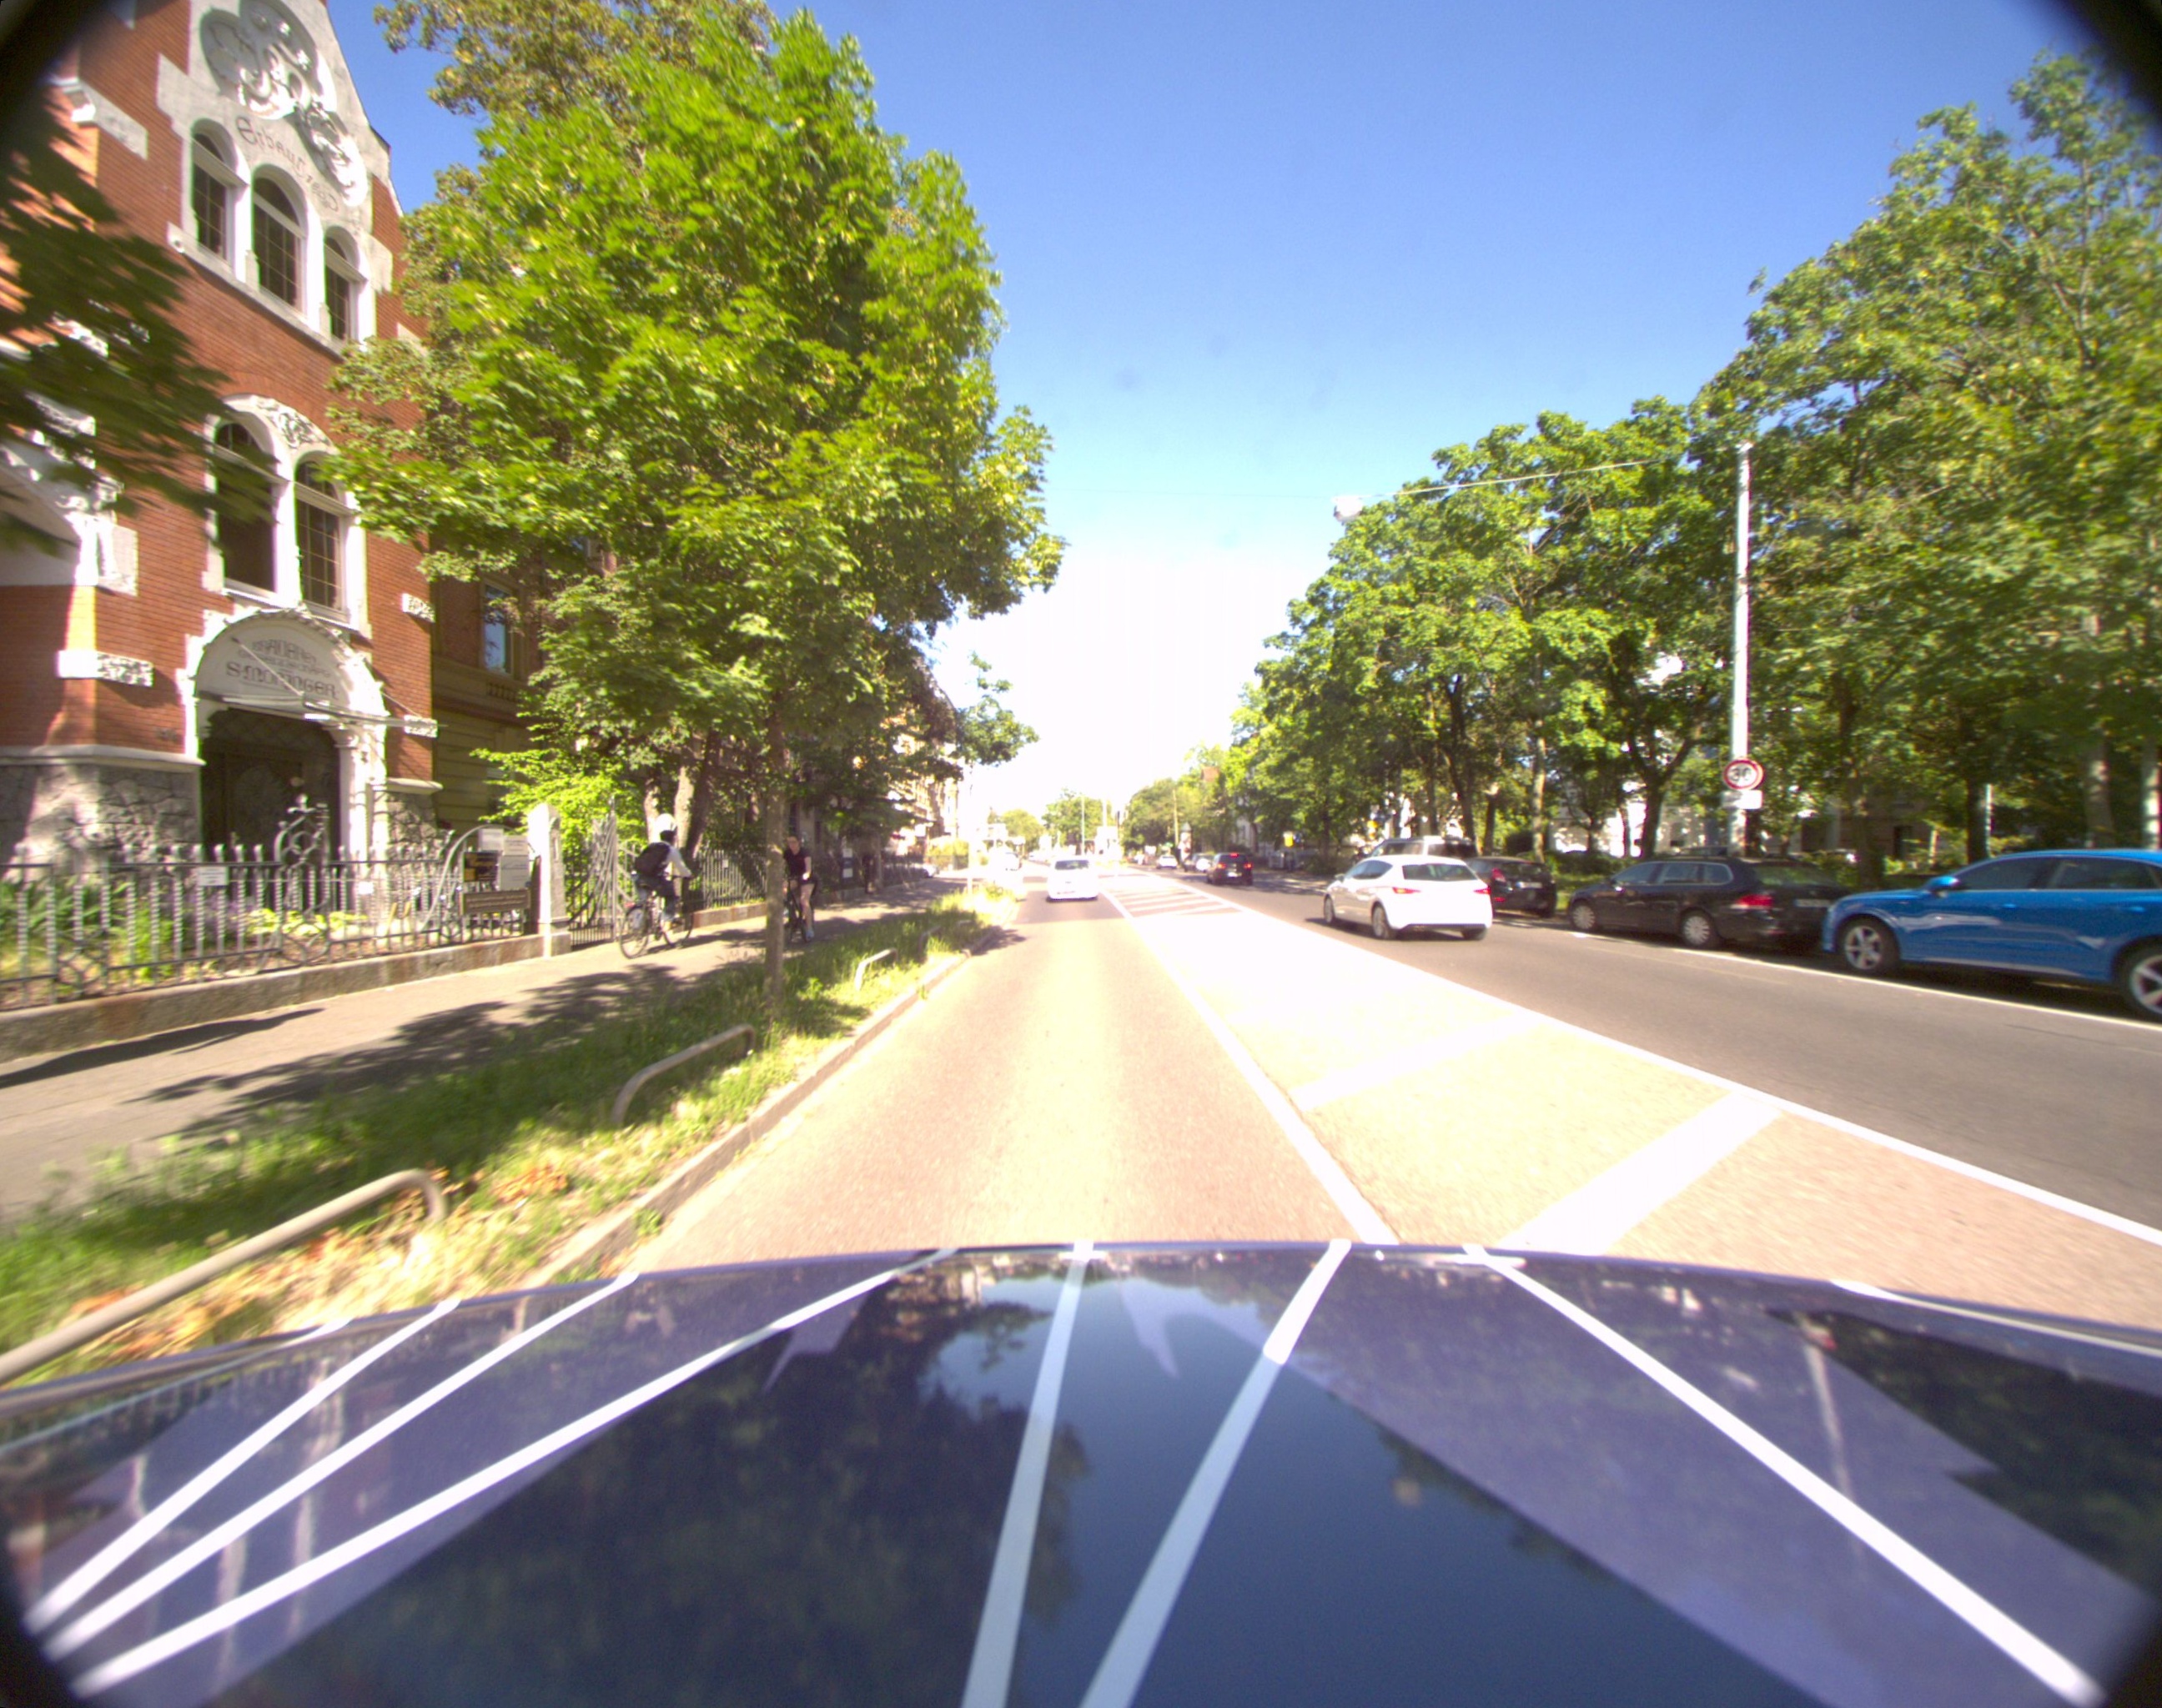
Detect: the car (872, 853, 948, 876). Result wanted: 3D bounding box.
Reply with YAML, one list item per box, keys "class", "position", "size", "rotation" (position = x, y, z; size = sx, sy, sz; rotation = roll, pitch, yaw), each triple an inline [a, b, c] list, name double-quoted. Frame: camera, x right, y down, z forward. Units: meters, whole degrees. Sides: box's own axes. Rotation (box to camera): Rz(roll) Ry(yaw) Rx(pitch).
- class: "car"
  position: [-11.086, 0.648, 49.462]
  size: [4.417, 1.409, 2.047]
  rotation: [1, 0, 2]

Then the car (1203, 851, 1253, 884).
- class: "car"
  position: [6.853, 0.598, 35.710]
  size: [1.596, 1.441, 4.133]
  rotation: [0, 0, 1]

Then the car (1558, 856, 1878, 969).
- class: "car"
  position: [10.217, 0.820, 12.714]
  size: [1.594, 1.474, 4.270]
  rotation: [1, 1, -3]

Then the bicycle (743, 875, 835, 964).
- class: "bicycle"
  position: [-4.401, 0.941, 11.604]
  size: [0.654, 1.169, 1.843]
  rotation: [3, 0, -1]

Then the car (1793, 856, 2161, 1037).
- class: "car"
  position: [10.344, 0.837, 7.844]
  size: [1.784, 1.529, 4.559]
  rotation: [2, 1, 2]

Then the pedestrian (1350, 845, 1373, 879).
- class: "pedestrian"
  position: [14.912, 0.411, 40.393]
  size: [0.872, 1.745, 0.819]
  rotation: [-1, 1, -10]

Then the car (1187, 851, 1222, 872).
- class: "car"
  position: [9.243, 0.528, 57.064]
  size: [1.843, 1.482, 3.779]
  rotation: [1, 0, -3]

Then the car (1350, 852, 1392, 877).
- class: "car"
  position: [20.108, 0.699, 52.901]
  size: [1.891, 1.679, 4.703]
  rotation: [1, 0, 10]

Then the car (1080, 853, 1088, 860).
- class: "car"
  position: [0.594, 0.608, 173.692]
  size: [1.595, 1.420, 3.715]
  rotation: [1, 1, -3]

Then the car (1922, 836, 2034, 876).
- class: "car"
  position: [62.097, 0.110, 52.748]
  size: [1.893, 2.608, 4.917]
  rotation: [1, 0, 0]

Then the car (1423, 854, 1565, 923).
- class: "car"
  position: [10.356, 0.793, 19.386]
  size: [1.467, 1.493, 3.958]
  rotation: [1, 1, 1]

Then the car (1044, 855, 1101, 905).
- class: "car"
  position: [-0.209, 0.832, 26.305]
  size: [1.652, 1.449, 3.897]
  rotation: [-4, 0, 3]

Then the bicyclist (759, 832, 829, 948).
- class: "bicyclist"
  position: [-4.373, 0.535, 11.635]
  size: [0.647, 1.685, 0.889]
  rotation: [3, 0, -1]

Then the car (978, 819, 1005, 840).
- class: "car"
  position: [-7.165, -1.922, 61.072]
  size: [1.847, 1.432, 4.104]
  rotation: [3, 0, -3]

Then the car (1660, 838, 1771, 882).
- class: "car"
  position: [34.095, 0.284, 41.020]
  size: [1.893, 2.233, 4.917]
  rotation: [1, 0, 1]

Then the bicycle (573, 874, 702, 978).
- class: "bicycle"
  position: [-5.771, 0.887, 10.038]
  size: [0.617, 1.169, 1.918]
  rotation: [3, 0, -3]

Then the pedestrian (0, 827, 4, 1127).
- class: "pedestrian"
  position: [-6.233, 0.666, 3.733]
  size: [0.696, 1.649, 0.820]
  rotation: [3, 1, 0]

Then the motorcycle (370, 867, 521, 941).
- class: "motorcycle"
  position: [-10.049, 0.771, 12.049]
  size: [1.879, 1.026, 0.782]
  rotation: [2, 2, 9]

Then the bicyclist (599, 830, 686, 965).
- class: "bicyclist"
  position: [-5.750, 0.551, 10.008]
  size: [0.622, 1.680, 0.820]
  rotation: [3, 0, -3]

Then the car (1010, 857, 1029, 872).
- class: "car"
  position: [-7.405, 1.214, 91.974]
  size: [1.893, 1.679, 4.699]
  rotation: [-1, 0, -1]

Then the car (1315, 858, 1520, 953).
- class: "car"
  position: [5.912, 0.813, 14.001]
  size: [1.923, 1.411, 4.224]
  rotation: [0, 1, 0]

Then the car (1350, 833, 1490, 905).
- class: "car"
  position: [10.600, 0.425, 24.236]
  size: [1.989, 2.024, 4.873]
  rotation: [2, 0, -3]

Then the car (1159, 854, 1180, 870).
- class: "car"
  position: [8.866, 0.803, 76.338]
  size: [1.808, 1.485, 4.714]
  rotation: [0, 0, 3]

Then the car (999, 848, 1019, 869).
- class: "car"
  position: [-6.671, 0.387, 70.866]
  size: [1.694, 1.862, 3.560]
  rotation: [1, 0, -3]
